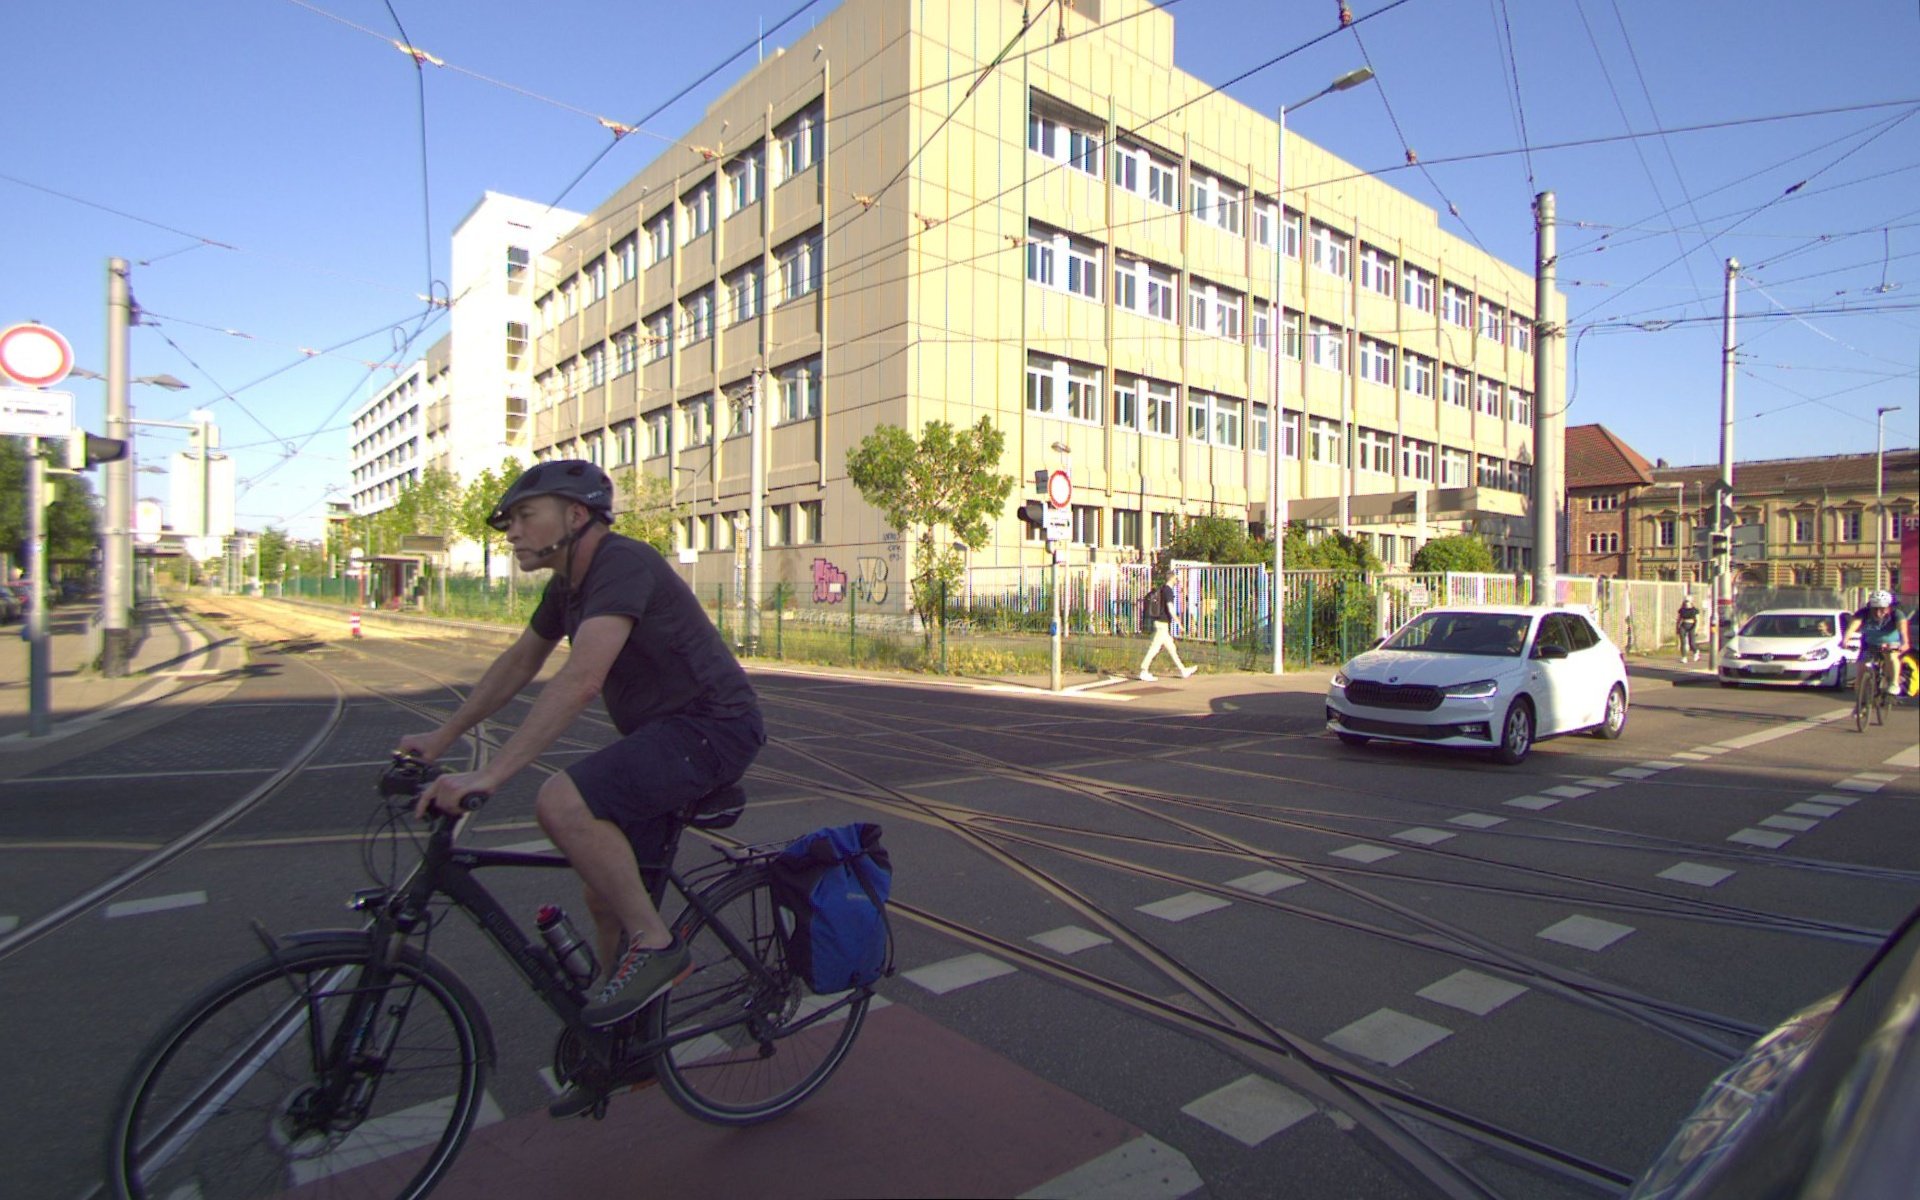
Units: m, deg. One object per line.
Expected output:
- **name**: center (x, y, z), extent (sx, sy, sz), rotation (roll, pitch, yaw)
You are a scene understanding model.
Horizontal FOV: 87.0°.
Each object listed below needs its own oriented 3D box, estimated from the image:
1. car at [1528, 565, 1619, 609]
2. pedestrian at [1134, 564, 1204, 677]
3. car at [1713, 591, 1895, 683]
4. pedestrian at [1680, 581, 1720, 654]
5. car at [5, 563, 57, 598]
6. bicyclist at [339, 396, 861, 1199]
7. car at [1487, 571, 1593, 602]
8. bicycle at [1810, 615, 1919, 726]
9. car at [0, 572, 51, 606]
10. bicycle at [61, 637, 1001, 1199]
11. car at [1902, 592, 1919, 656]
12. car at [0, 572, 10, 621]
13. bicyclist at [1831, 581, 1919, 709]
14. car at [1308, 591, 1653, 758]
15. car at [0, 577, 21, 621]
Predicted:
- **car**: center (27.271, -0.563, 44.922), extent (4.699, 1.865, 1.998), rotation (0, 1, -39)
- **pedestrian**: center (3.502, 0.336, 17.002), extent (1.064, 1.836, 0.735), rotation (-1, 0, 7)
- **car**: center (15.762, 0.636, 18.842), extent (4.224, 1.522, 1.792), rotation (0, -2, -39)
- **pedestrian**: center (18.405, 0.416, 25.174), extent (0.755, 1.784, 0.593), rotation (0, 0, -34)
- **car**: center (-53.349, -1.129, 58.202), extent (1.964, 1.946, 3.996), rotation (0, 1, -39)
- **bicyclist**: center (-0.870, 0.424, 2.472), extent (1.068, 1.623, 0.652), rotation (0, 0, -34)
- **car**: center (31.036, -0.707, 54.246), extent (1.964, 1.601, 4.572), rotation (0, 1, -40)
- **bicycle**: center (10.844, 0.773, 11.913), extent (2.263, 1.159, 0.765), rotation (0, 0, -36)
- **car**: center (-45.992, -0.541, 49.571), extent (1.964, 1.621, 3.996), rotation (0, 1, -39)
- **bicycle**: center (-0.868, 0.775, 2.486), extent (1.928, 1.297, 0.652), rotation (0, 0, -35)
- **car**: center (27.141, 0.590, 27.384), extent (4.224, 1.664, 1.792), rotation (0, -2, -39)
- **car**: center (-32.978, -0.126, 33.496), extent (1.964, 1.621, 3.996), rotation (0, 1, -39)
- **bicyclist**: center (10.873, 0.511, 11.928), extent (0.843, 1.440, 0.728), rotation (0, -1, -36)
- **car**: center (5.476, 0.628, 10.445), extent (4.001, 1.407, 1.705), rotation (0, -1, -39)
- **car**: center (-36.976, -0.067, 38.233), extent (1.964, 1.621, 3.996), rotation (0, 1, -39)
